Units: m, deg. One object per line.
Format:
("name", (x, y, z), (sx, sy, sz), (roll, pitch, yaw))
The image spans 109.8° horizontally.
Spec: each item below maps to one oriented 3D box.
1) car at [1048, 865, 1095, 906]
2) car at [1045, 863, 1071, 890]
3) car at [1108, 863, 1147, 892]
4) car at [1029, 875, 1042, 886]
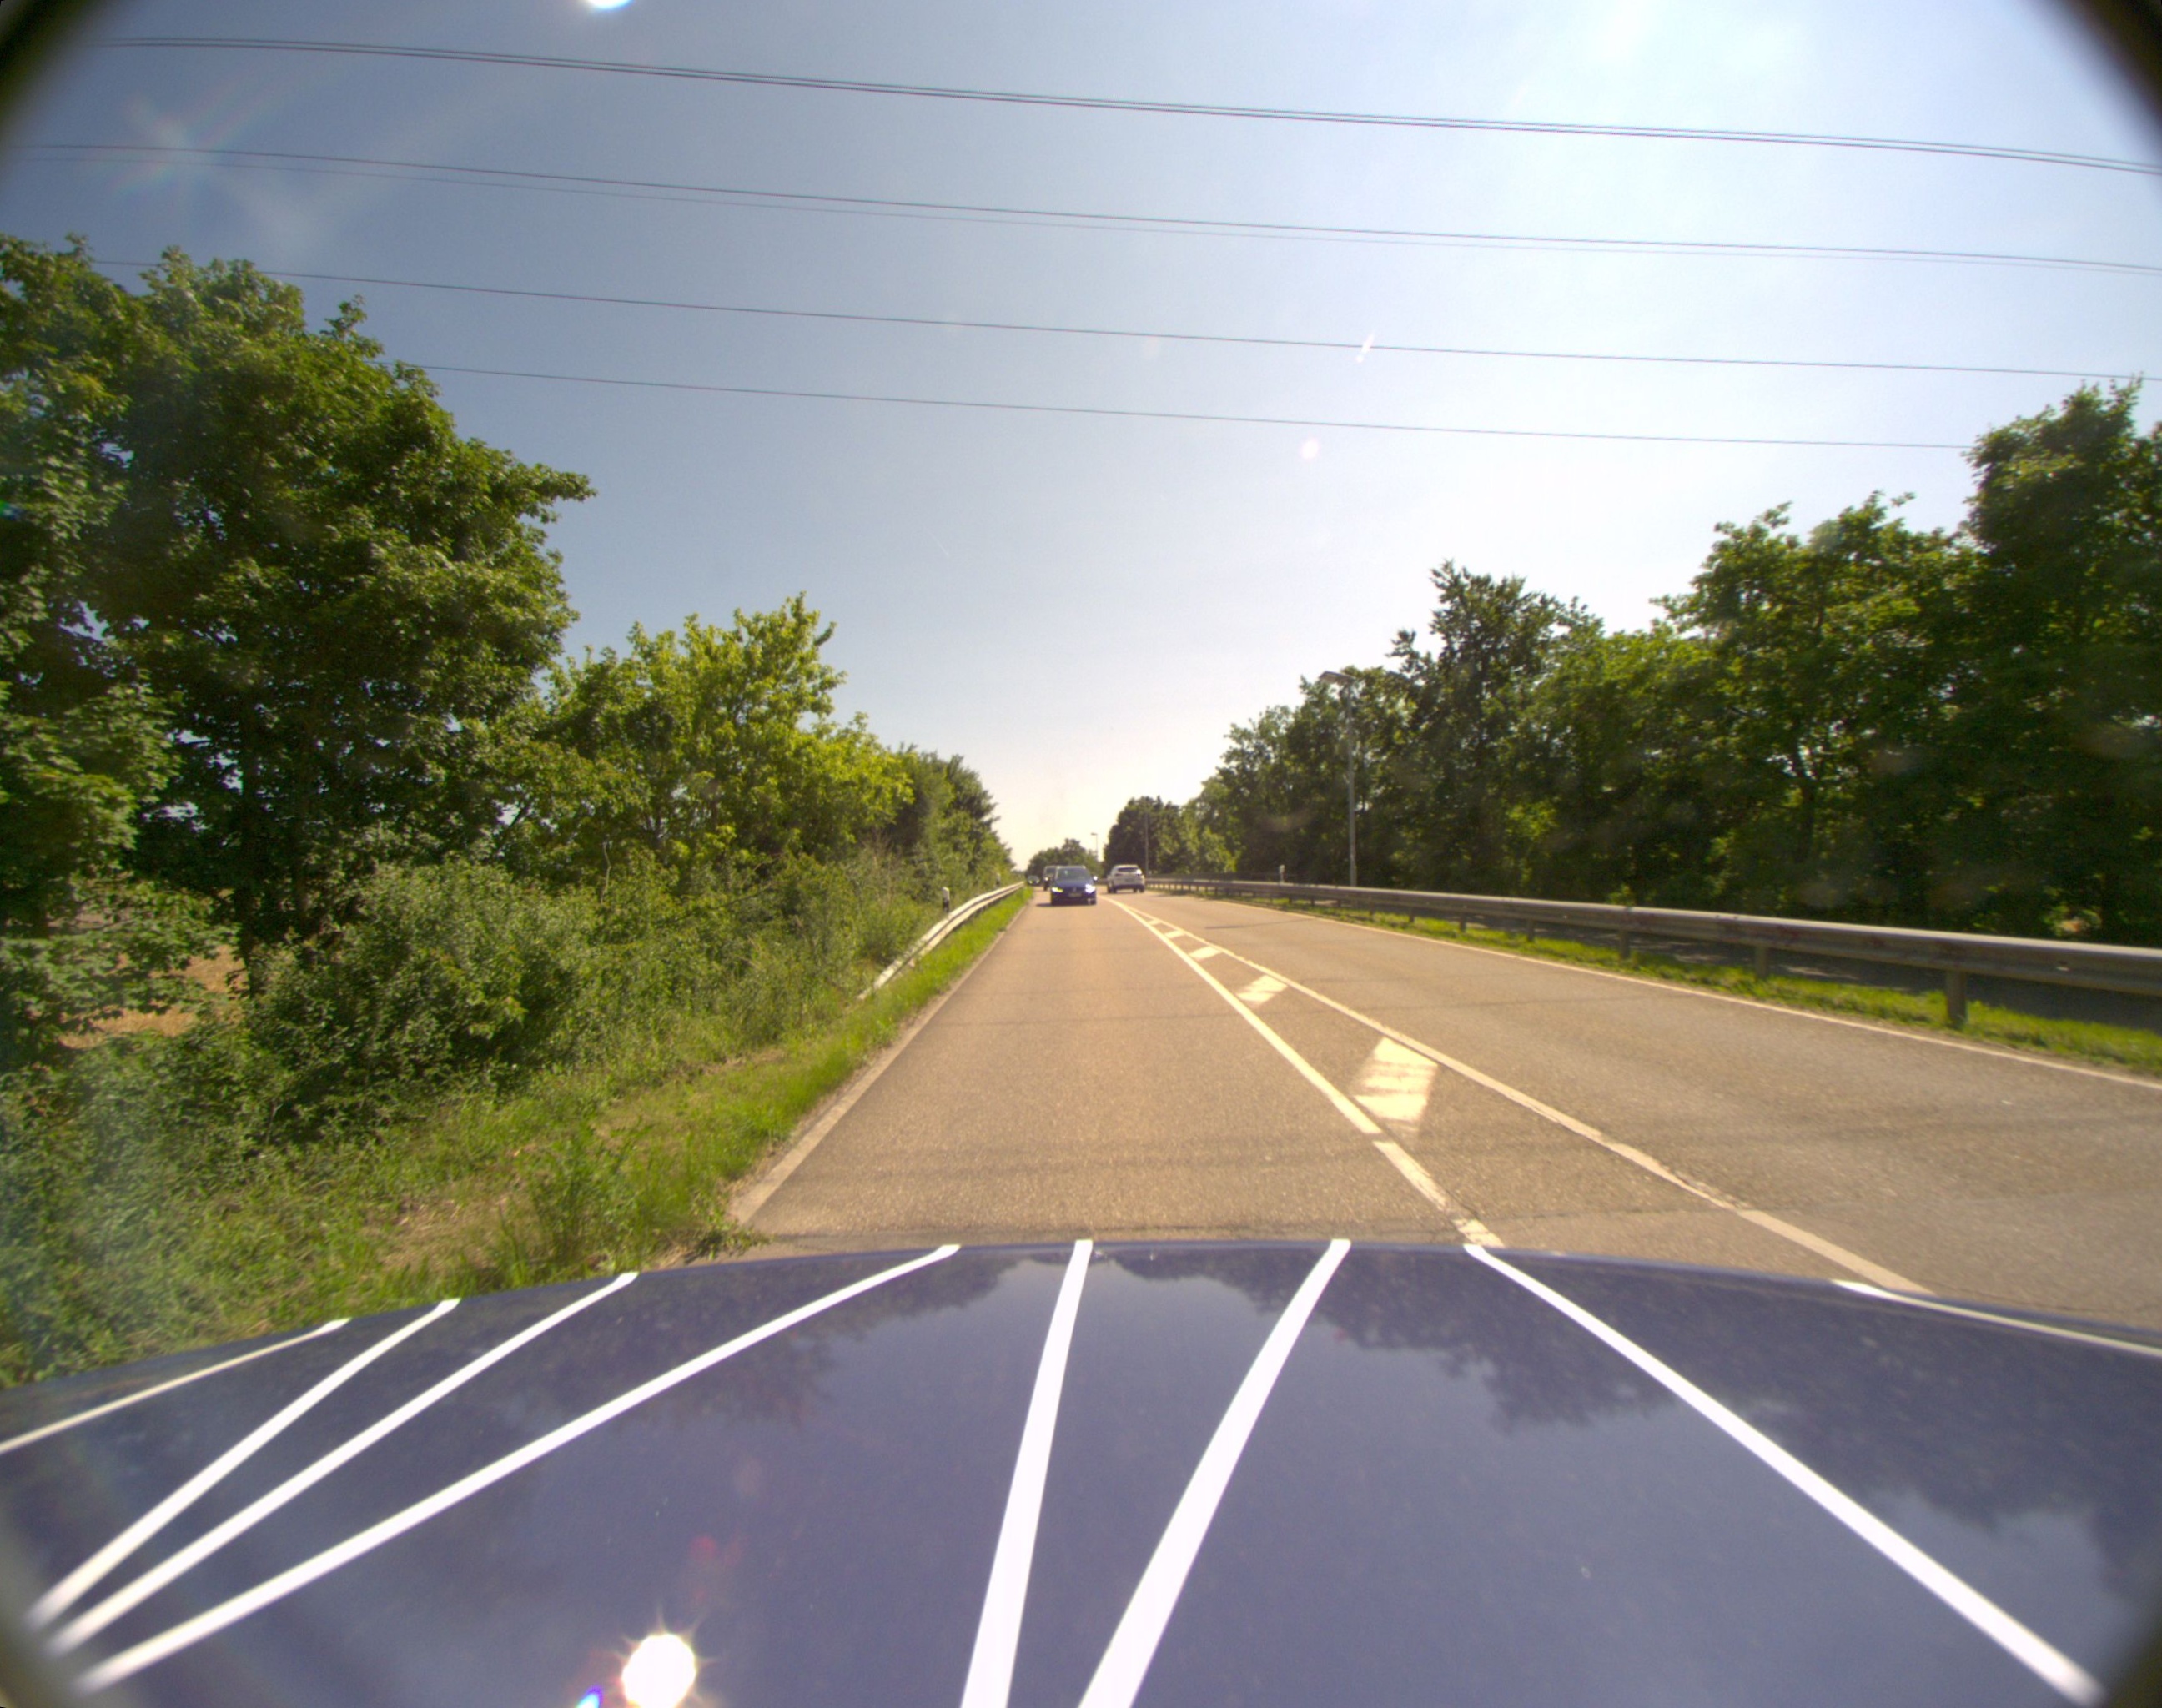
("car", (-0.438, 1.263, 31.407), (1.765, 1.519, 4.423), (-2, -2, -2))
("car", (-1.879, 1.798, 60.670), (1.765, 1.953, 4.261), (-2, -2, -5))
("car", (2.764, 1.407, 45.961), (1.829, 1.630, 4.140), (-2, -1, -3))
("car", (-6.899, 3.997, 114.115), (1.765, 1.529, 3.683), (-1, -1, -6))
